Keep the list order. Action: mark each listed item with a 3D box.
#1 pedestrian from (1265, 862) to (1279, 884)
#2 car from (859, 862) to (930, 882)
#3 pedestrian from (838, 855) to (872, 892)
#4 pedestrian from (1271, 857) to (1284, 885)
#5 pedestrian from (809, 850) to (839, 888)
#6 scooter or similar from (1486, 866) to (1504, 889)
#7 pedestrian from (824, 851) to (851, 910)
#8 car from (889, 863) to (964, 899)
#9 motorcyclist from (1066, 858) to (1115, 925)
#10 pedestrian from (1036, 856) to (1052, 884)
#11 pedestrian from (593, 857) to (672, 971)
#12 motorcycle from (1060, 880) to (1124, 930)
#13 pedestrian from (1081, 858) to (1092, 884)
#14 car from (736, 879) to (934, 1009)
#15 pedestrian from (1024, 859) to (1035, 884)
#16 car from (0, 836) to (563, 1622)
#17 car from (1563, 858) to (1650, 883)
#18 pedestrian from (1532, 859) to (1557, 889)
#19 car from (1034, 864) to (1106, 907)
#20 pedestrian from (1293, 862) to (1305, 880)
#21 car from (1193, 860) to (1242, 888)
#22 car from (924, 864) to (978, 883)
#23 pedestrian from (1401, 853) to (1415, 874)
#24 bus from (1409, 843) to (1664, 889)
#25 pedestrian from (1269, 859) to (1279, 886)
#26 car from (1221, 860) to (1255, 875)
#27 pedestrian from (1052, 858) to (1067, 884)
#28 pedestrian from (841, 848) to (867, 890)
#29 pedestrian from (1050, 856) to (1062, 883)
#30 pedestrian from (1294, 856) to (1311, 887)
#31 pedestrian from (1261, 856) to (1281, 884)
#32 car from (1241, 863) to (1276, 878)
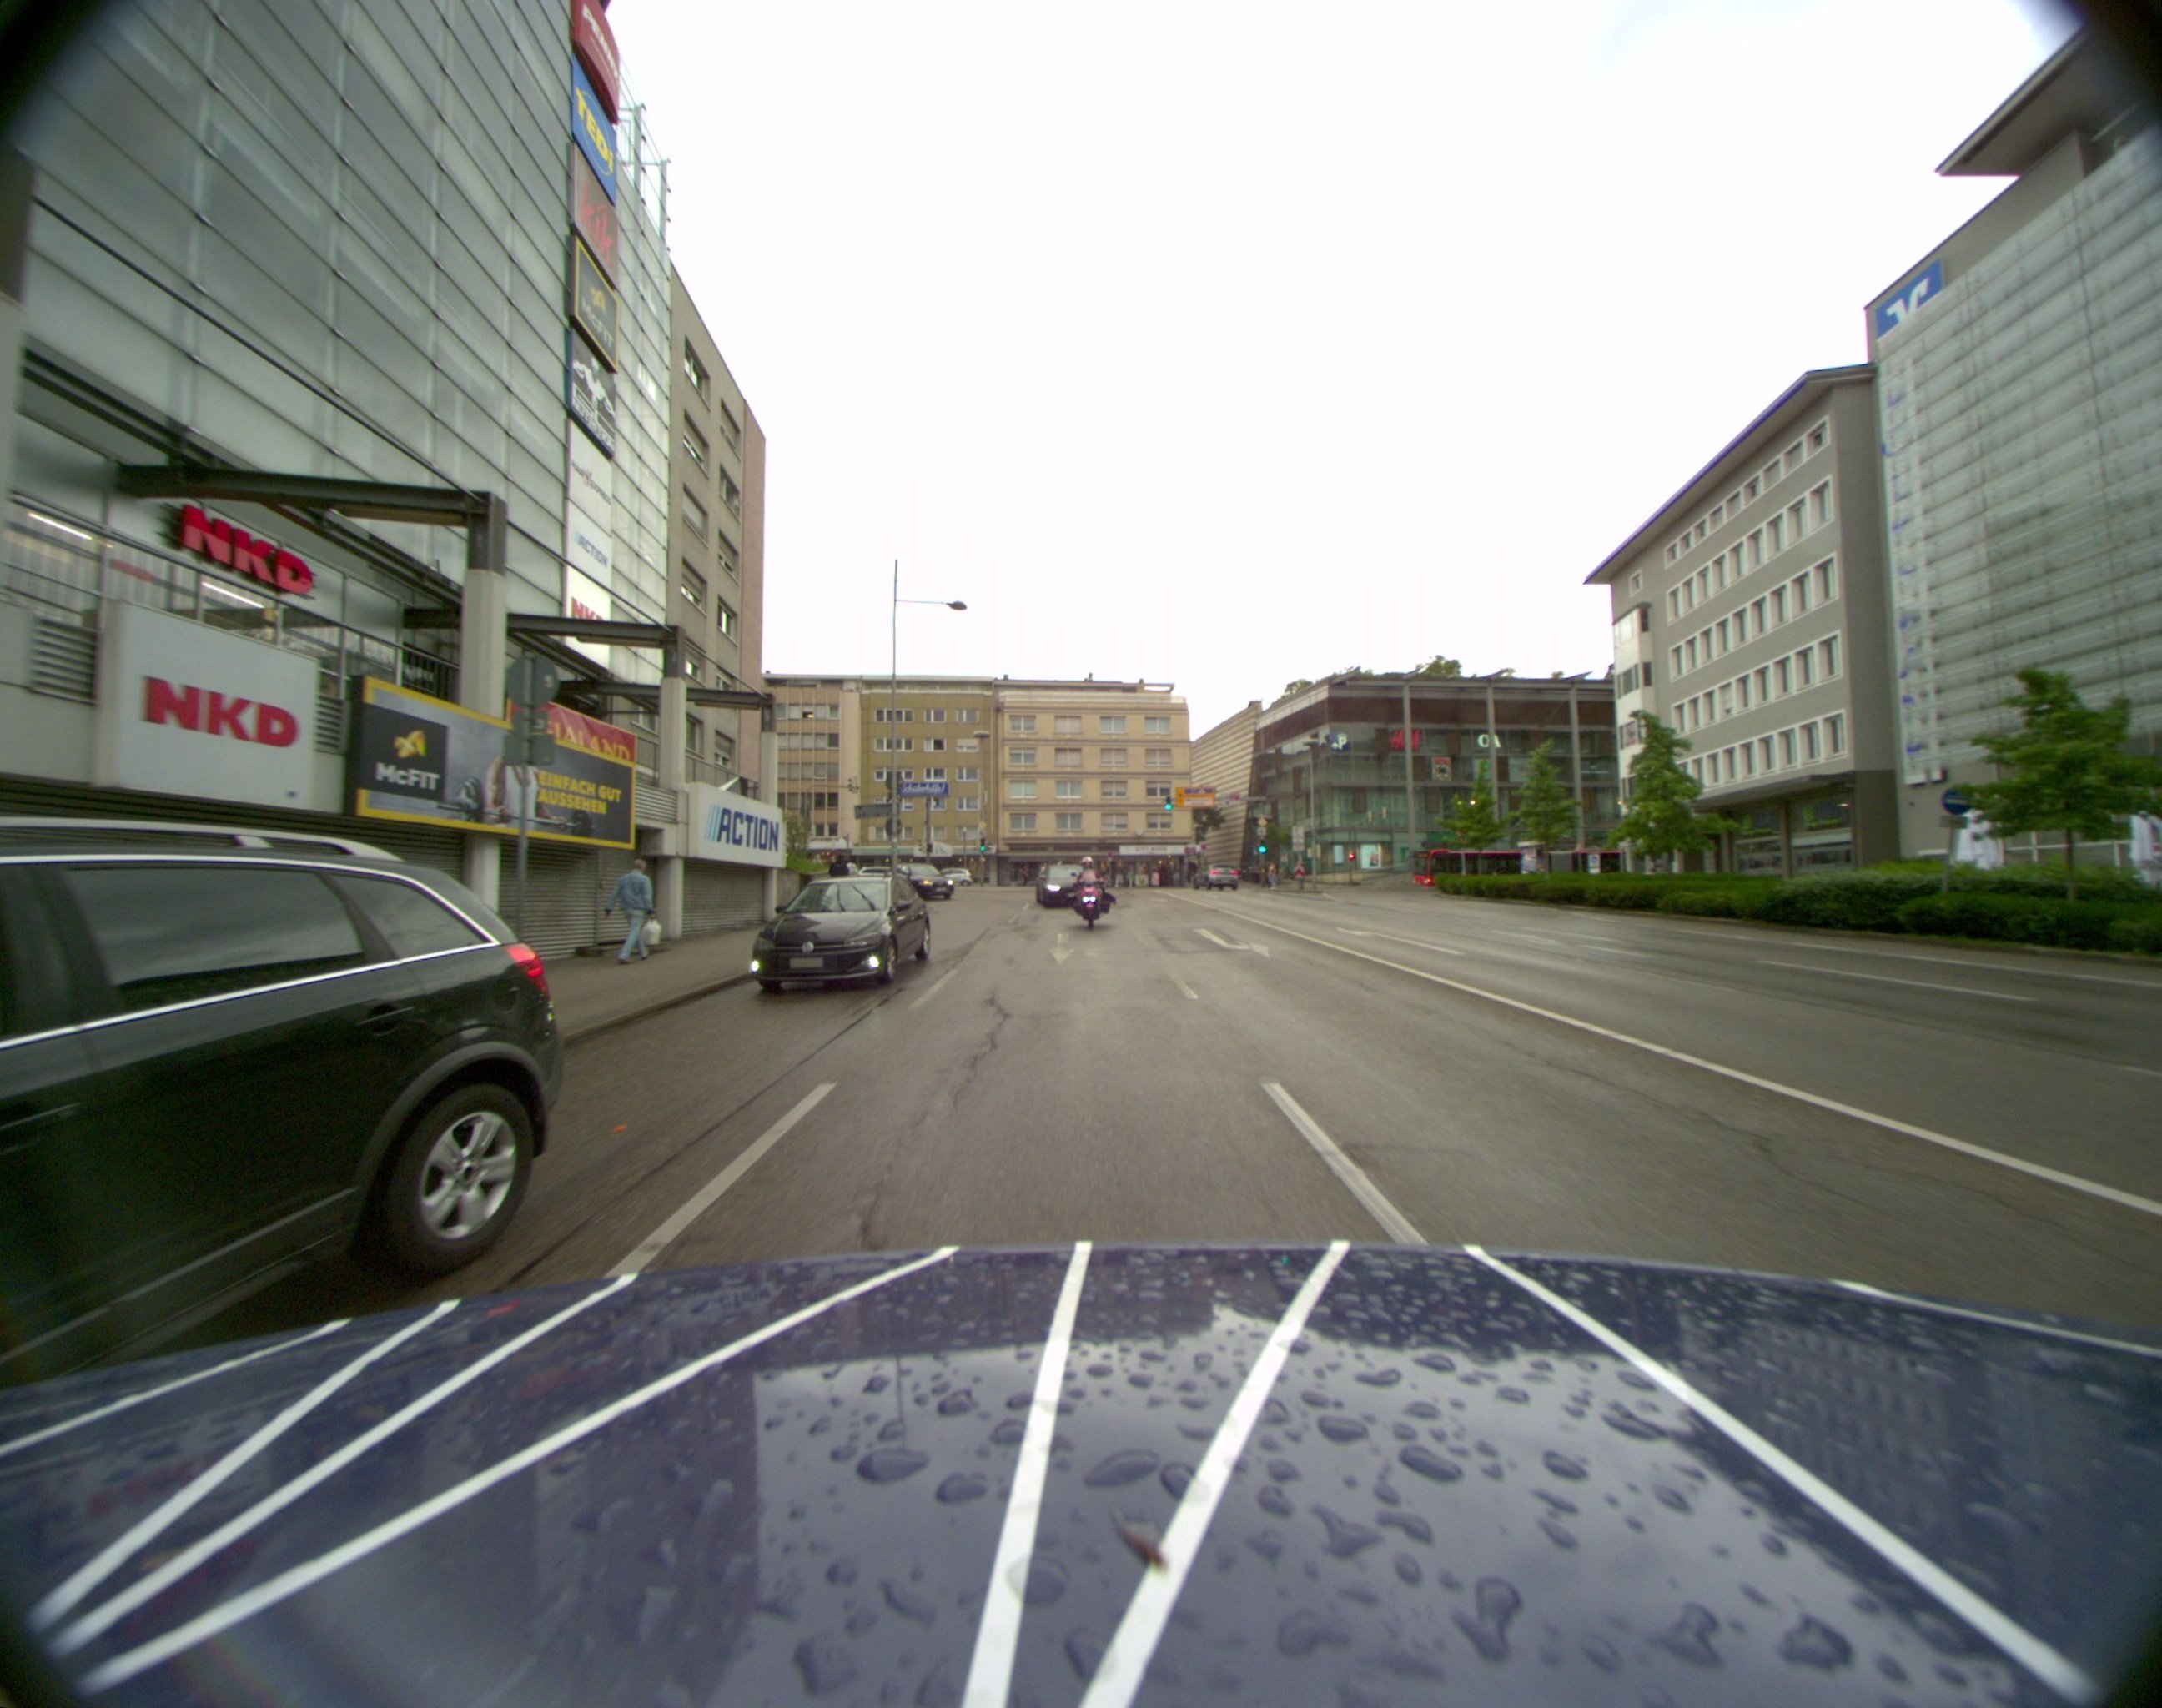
[{"bbox_3d":[11.759,1.187,46.810,0.588,1.331,0.631,0,0,-10],"label":"pedestrian"},{"bbox_3d":[-13.078,1.273,53.446,4.630,1.407,1.798,0,-2,-6],"label":"car"},{"bbox_3d":[-9.888,0.859,33.216,1.061,1.522,1.024,4,-1,-34],"label":"pedestrian"},{"bbox_3d":[11.773,1.007,45.577,0.638,1.679,0.784,0,0,4],"label":"pedestrian"},{"bbox_3d":[-11.942,0.708,35.314,0.837,1.711,1.040,0,-3,12],"label":"pedestrian"},{"bbox_3d":[21.694,1.235,39.834,0.543,1.179,1.386,0,-2,15],"label":"scooter or similar"},{"bbox_3d":[-7.672,0.840,23.973,0.601,1.829,1.012,0,-1,-4],"label":"pedestrian"},{"bbox_3d":[-7.064,1.185,34.394,1.876,1.538,4.093,0,-1,-35],"label":"car"},{"bbox_3d":[0.213,0.911,18.630,1.093,1.595,0.953,0,-1,-7],"label":"motorcyclist"},{"bbox_3d":[-2.325,0.993,47.355,0.914,1.662,0.981,0,0,1],"label":"pedestrian"},{"bbox_3d":[-6.905,0.901,11.714,0.837,1.712,0.618,0,0,6],"label":"pedestrian"},{"bbox_3d":[0.219,1.213,18.581,1.314,1.128,2.184,1,-2,-6],"label":"motorcycle"},{"bbox_3d":[0.346,1.078,48.453,0.693,1.682,0.759,2,0,0],"label":"pedestrian"},{"bbox_3d":[-3.337,1.147,11.098,1.742,1.422,3.879,-2,-1,-3],"label":"car"},{"bbox_3d":[-3.176,1.067,46.760,0.560,1.479,0.707,1,0,0],"label":"pedestrian"},{"bbox_3d":[-3.406,0.850,1.438,1.912,1.775,4.302,-1,-1,0],"label":"car"},{"bbox_3d":[44.440,1.414,64.332,5.907,2.063,2.451,0,0,-6],"label":"car"},{"bbox_3d":[28.389,1.223,46.560,0.800,1.765,1.024,1,0,-10],"label":"pedestrian"},{"bbox_3d":[-0.518,1.155,28.381,2.000,1.482,4.732,1,-2,-10],"label":"car"},{"bbox_3d":[21.631,1.649,75.262,0.695,1.751,1.048,1,-2,-15],"label":"pedestrian"},{"bbox_3d":[8.101,1.150,45.406,1.846,1.543,4.092,2,-1,-5],"label":"car"},{"bbox_3d":[-11.129,1.681,65.391,4.399,1.541,1.852,0,0,-6],"label":"car"},{"bbox_3d":[31.143,0.911,72.357,0.974,1.968,0.883,0,-1,-5],"label":"pedestrian"},{"bbox_3d":[35.049,0.962,58.728,18.469,3.300,2.929,1,-1,-3],"label":"bus"},{"bbox_3d":[11.733,1.138,46.254,0.501,1.658,0.571,0,-1,2],"label":"pedestrian"},{"bbox_3d":[17.280,1.447,83.698,1.899,1.537,4.375,-2,0,-14],"label":"car"},{"bbox_3d":[-1.290,1.044,46.352,0.854,1.559,0.715,1,0,0],"label":"pedestrian"},{"bbox_3d":[-10.495,0.717,35.137,0.785,1.855,0.619,4,-4,11],"label":"pedestrian"},{"bbox_3d":[-1.585,1.011,49.030,0.706,1.701,0.786,1,0,0],"label":"pedestrian"},{"bbox_3d":[12.992,1.010,44.570,0.618,1.768,0.831,0,0,-10],"label":"pedestrian"},{"bbox_3d":[12.042,1.026,48.213,0.853,1.777,1.012,0,0,-11],"label":"pedestrian"},{"bbox_3d":[18.223,1.665,78.208,1.806,1.537,4.291,0,0,-14],"label":"car"}]
